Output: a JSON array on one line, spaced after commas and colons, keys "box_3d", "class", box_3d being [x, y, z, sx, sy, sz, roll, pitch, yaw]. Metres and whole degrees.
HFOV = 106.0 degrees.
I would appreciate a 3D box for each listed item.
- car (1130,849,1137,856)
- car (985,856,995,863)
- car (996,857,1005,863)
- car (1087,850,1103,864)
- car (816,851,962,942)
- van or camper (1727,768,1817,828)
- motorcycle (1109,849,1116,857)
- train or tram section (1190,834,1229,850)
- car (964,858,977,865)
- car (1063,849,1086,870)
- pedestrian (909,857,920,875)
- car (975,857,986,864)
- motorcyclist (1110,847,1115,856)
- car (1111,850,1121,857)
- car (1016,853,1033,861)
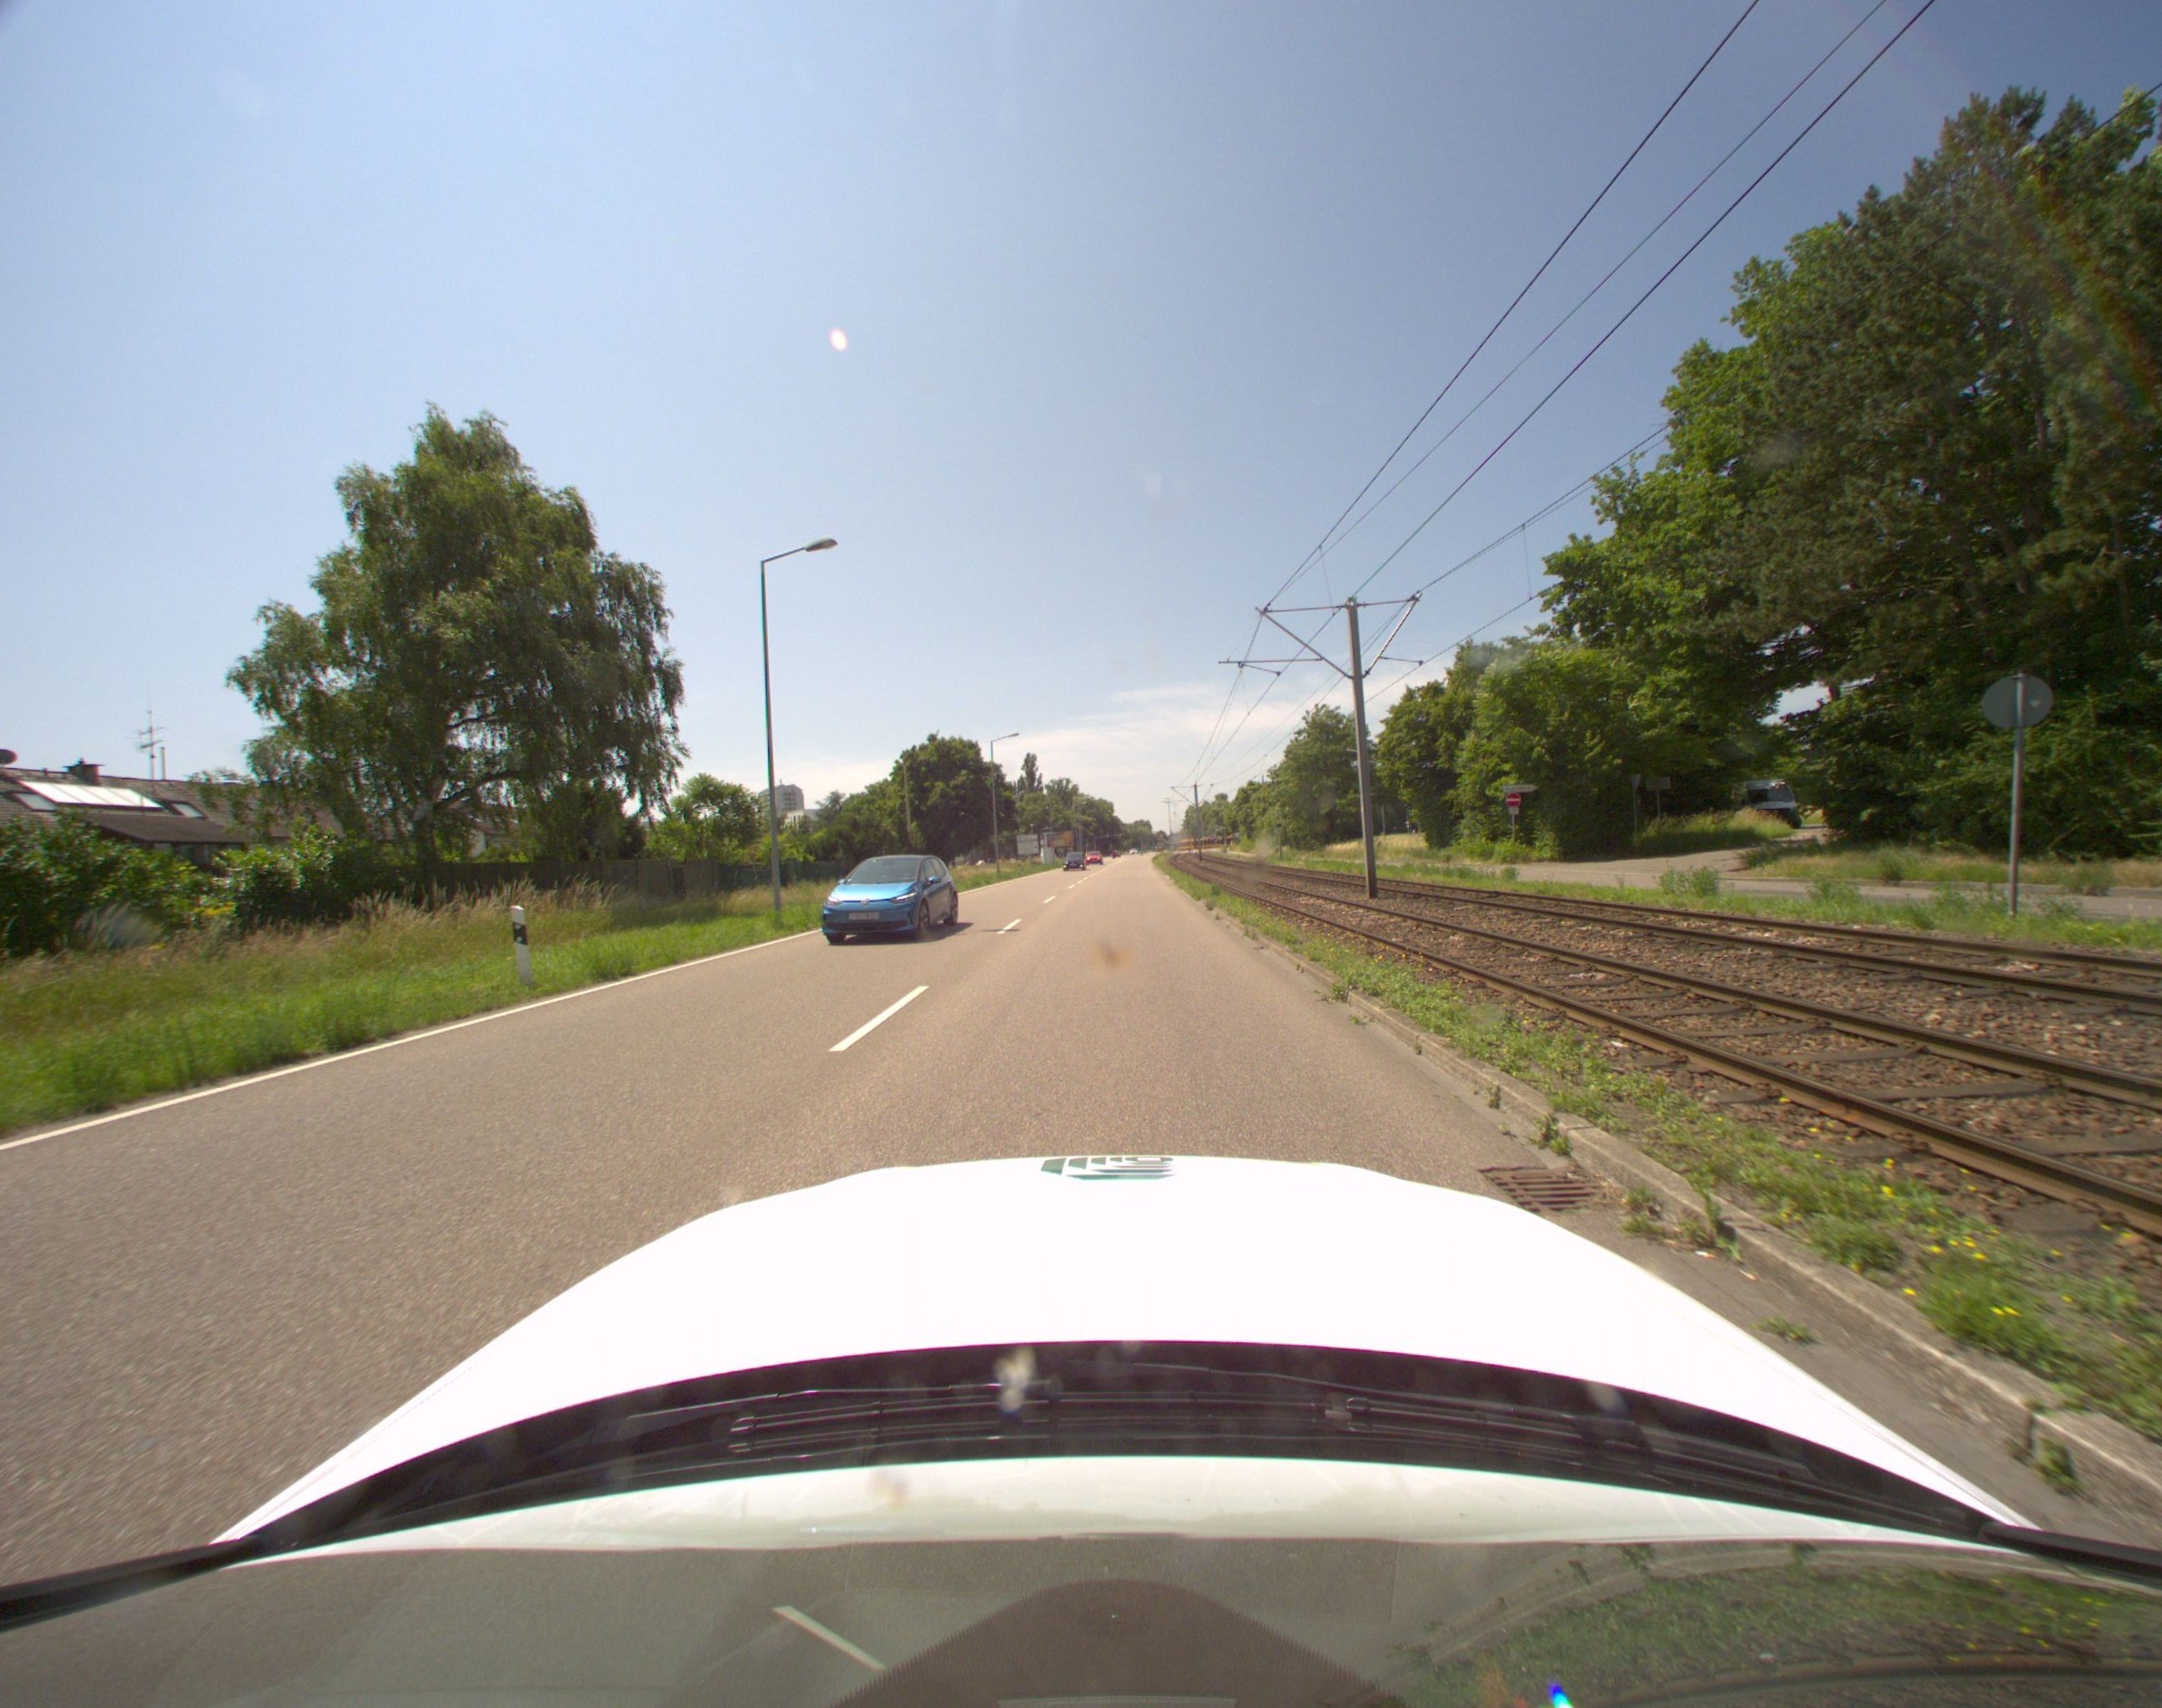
[{"box_3d": [14.964, -0.463, 231.482, 1.775, 1.628, 3.872, -4, 0, 6], "class": "car"}, {"box_3d": [-22.206, 1.344, 199.410, 1.708, 1.800, 3.977, -3, 0, -17], "class": "car"}, {"box_3d": [-19.785, 1.501, 200.007, 1.618, 1.464, 3.985, -3, 0, -10], "class": "car"}, {"box_3d": [1.543, 0.359, 87.938, 1.673, 1.399, 4.001, -2, 0, 1], "class": "car"}, {"box_3d": [-3.633, 0.726, 16.168, 1.809, 1.505, 4.001, -2, 0, 1], "class": "car"}, {"box_3d": [35.541, -2.832, 42.039, 2.307, 2.639, 4.458, 4, 0, 25], "class": "van or camper"}, {"box_3d": [5.753, -0.173, 148.912, 0.842, 1.255, 2.454, -3, 0, 8], "class": "motorcycle"}, {"box_3d": [38.788, -3.539, 246.910, 2.936, 3.919, 13.812, -1, -3, -35], "class": "train or tram section"}, {"box_3d": [-26.880, 1.750, 198.299, 1.855, 1.668, 3.967, -3, 0, -25], "class": "car"}, {"box_3d": [-0.488, 0.405, 65.427, 1.678, 1.570, 3.969, -3, 0, 1], "class": "car"}, {"box_3d": [-12.968, 0.958, 63.413, 0.578, 1.355, 0.799, -3, 0, 3], "class": "pedestrian"}, {"box_3d": [-24.428, 1.570, 198.693, 1.711, 1.592, 3.971, -3, 0, -21], "class": "car"}, {"box_3d": [5.737, -0.488, 148.895, 0.785, 1.643, 1.214, -3, 0, 8], "class": "motorcyclist"}, {"box_3d": [7.487, -0.109, 173.766, 1.898, 1.499, 4.635, -2, 0, 4], "class": "car"}, {"box_3d": [-15.721, 0.798, 226.077, 4.576, 1.768, 1.769, -4, 0, -45], "class": "car"}]
